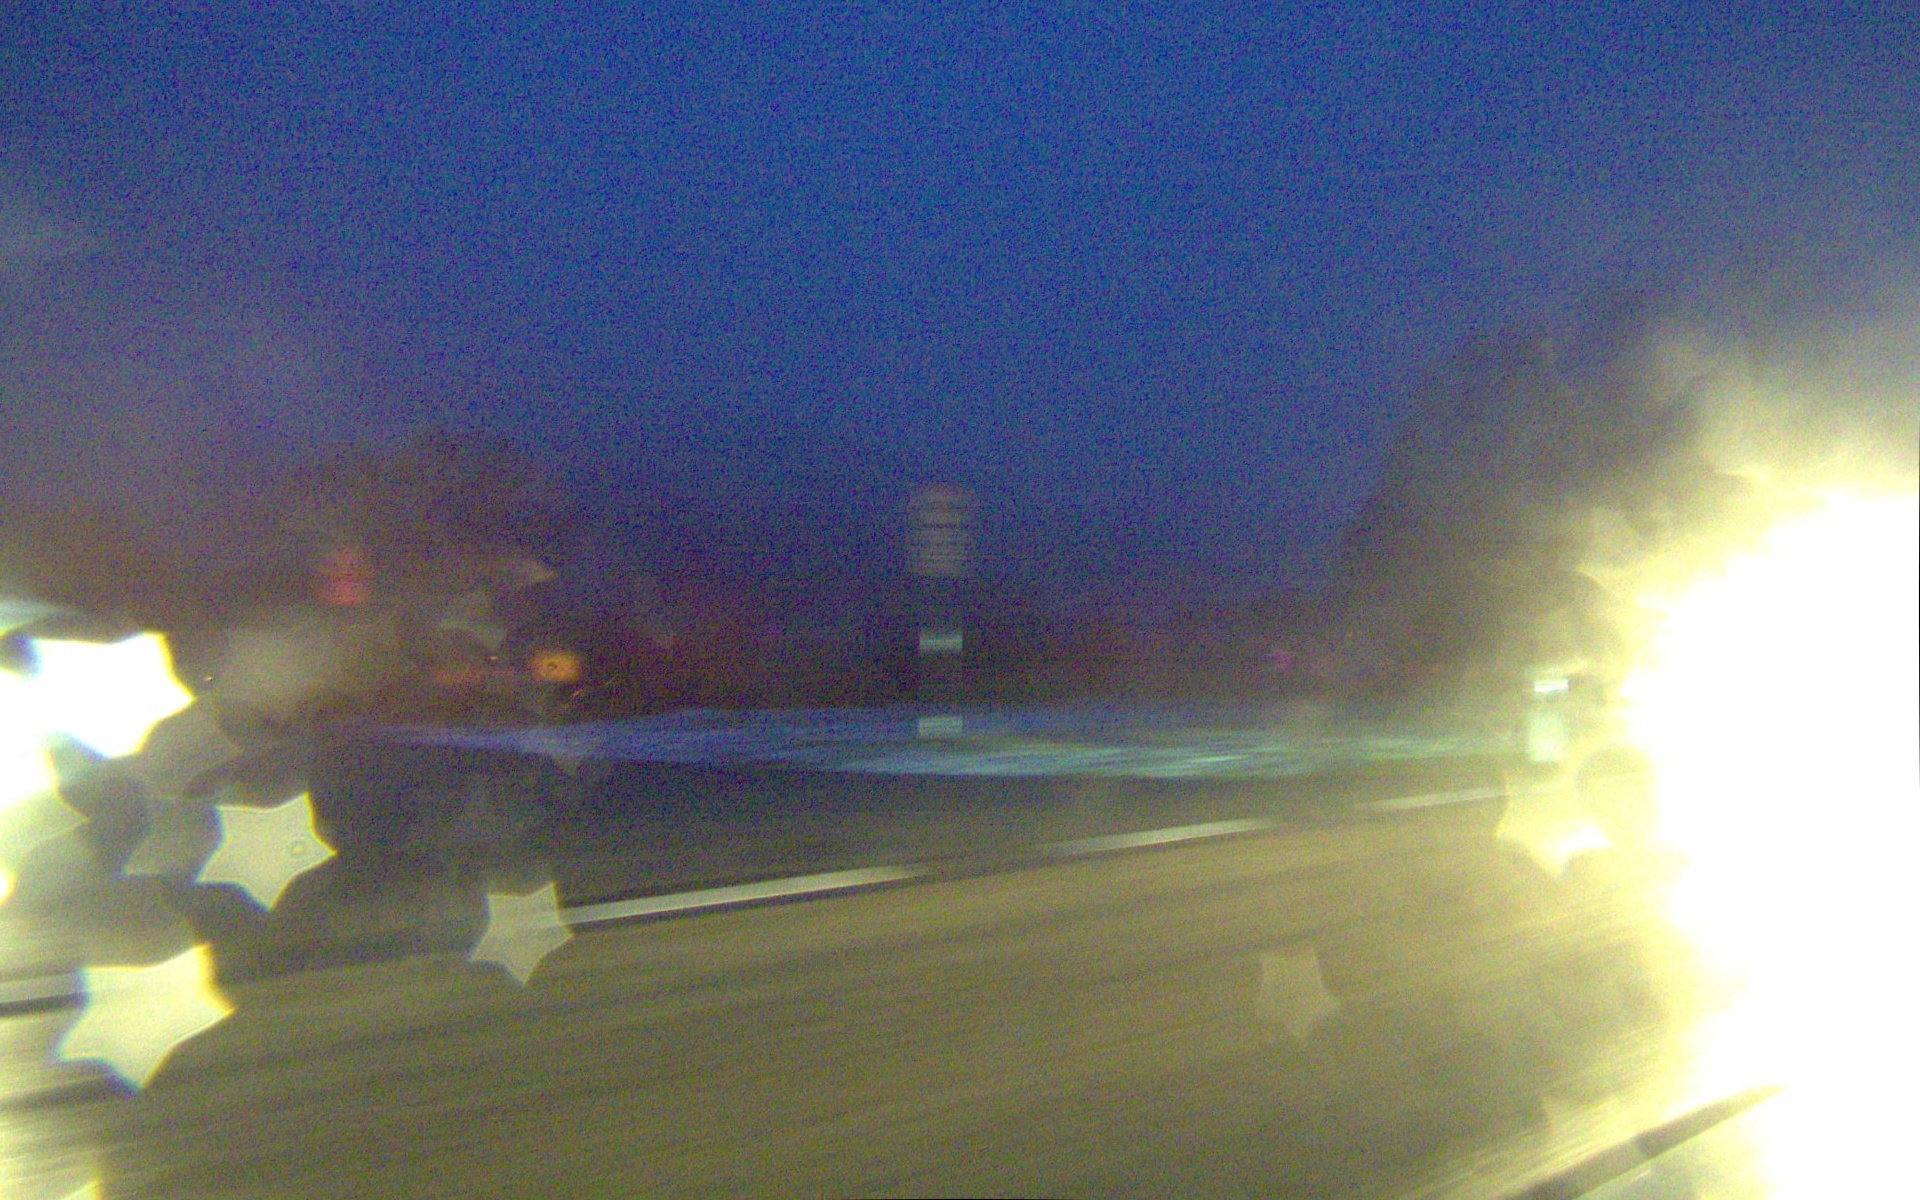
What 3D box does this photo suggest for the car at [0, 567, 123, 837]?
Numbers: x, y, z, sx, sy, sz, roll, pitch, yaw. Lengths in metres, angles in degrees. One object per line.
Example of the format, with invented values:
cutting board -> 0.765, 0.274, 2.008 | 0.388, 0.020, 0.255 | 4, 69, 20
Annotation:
car -> -7.742, 0.717, 7.017 | 1.910, 1.862, 4.914 | 1, -3, -28

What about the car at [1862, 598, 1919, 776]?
car -> 10.257, 0.794, 9.455 | 3.519, 1.581, 1.655 | 1, -1, -30
